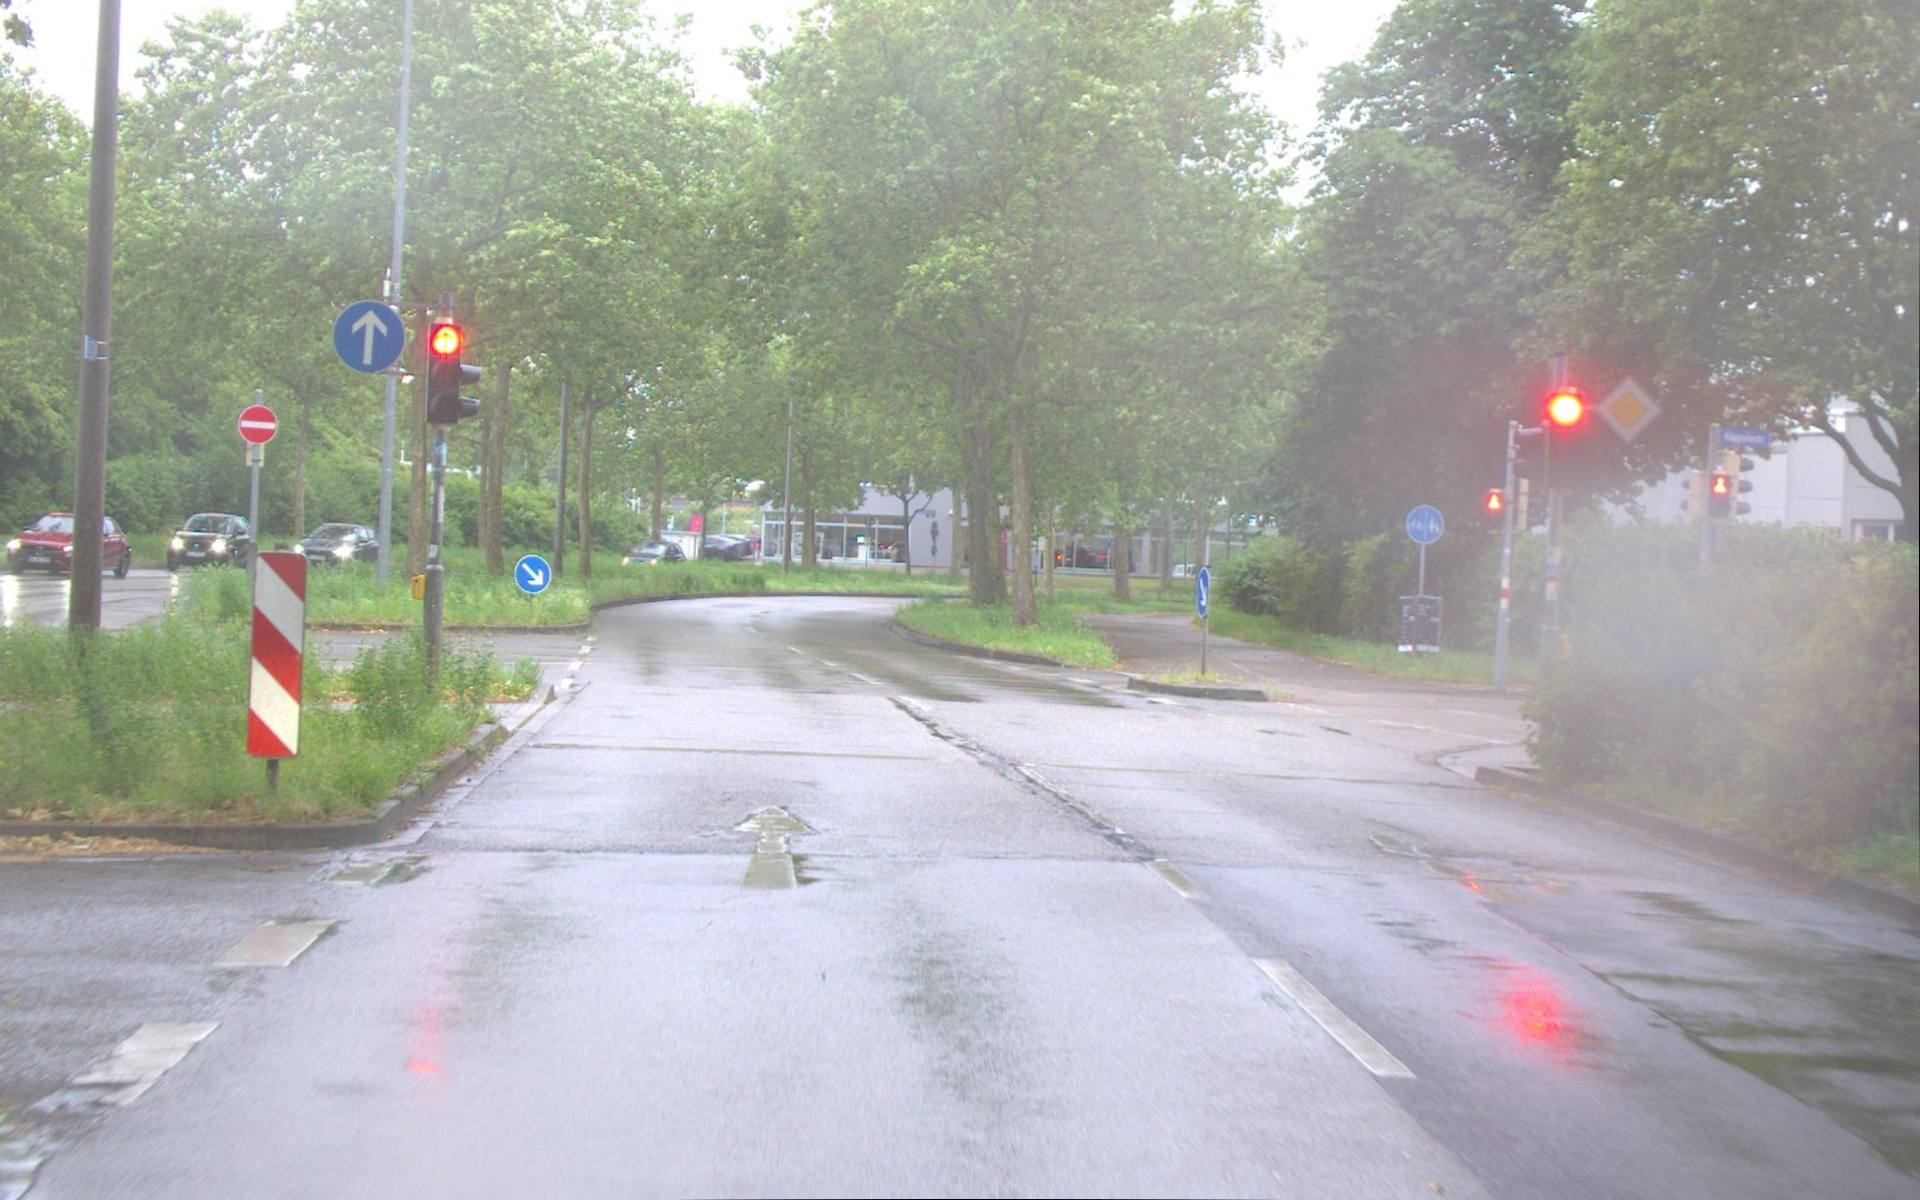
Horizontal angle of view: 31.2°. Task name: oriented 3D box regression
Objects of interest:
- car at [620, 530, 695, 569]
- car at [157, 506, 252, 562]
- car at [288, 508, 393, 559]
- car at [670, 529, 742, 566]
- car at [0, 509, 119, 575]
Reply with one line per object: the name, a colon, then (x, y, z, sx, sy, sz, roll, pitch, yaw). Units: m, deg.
car: (-11.326, -1.880, 128.885, 1.588, 1.368, 4.260, 2, 1, 12)
car: (-19.830, -1.719, 90.341, 1.587, 1.368, 3.334, 2, 1, 2)
car: (-18.078, -1.918, 100.479, 1.588, 1.368, 4.260, 2, 1, 10)
car: (-15.327, -3.157, 207.037, 3.986, 2.007, 2.001, 3, -1, -12)
car: (-20.624, -1.331, 78.849, 1.743, 1.403, 4.445, 2, 1, -3)
